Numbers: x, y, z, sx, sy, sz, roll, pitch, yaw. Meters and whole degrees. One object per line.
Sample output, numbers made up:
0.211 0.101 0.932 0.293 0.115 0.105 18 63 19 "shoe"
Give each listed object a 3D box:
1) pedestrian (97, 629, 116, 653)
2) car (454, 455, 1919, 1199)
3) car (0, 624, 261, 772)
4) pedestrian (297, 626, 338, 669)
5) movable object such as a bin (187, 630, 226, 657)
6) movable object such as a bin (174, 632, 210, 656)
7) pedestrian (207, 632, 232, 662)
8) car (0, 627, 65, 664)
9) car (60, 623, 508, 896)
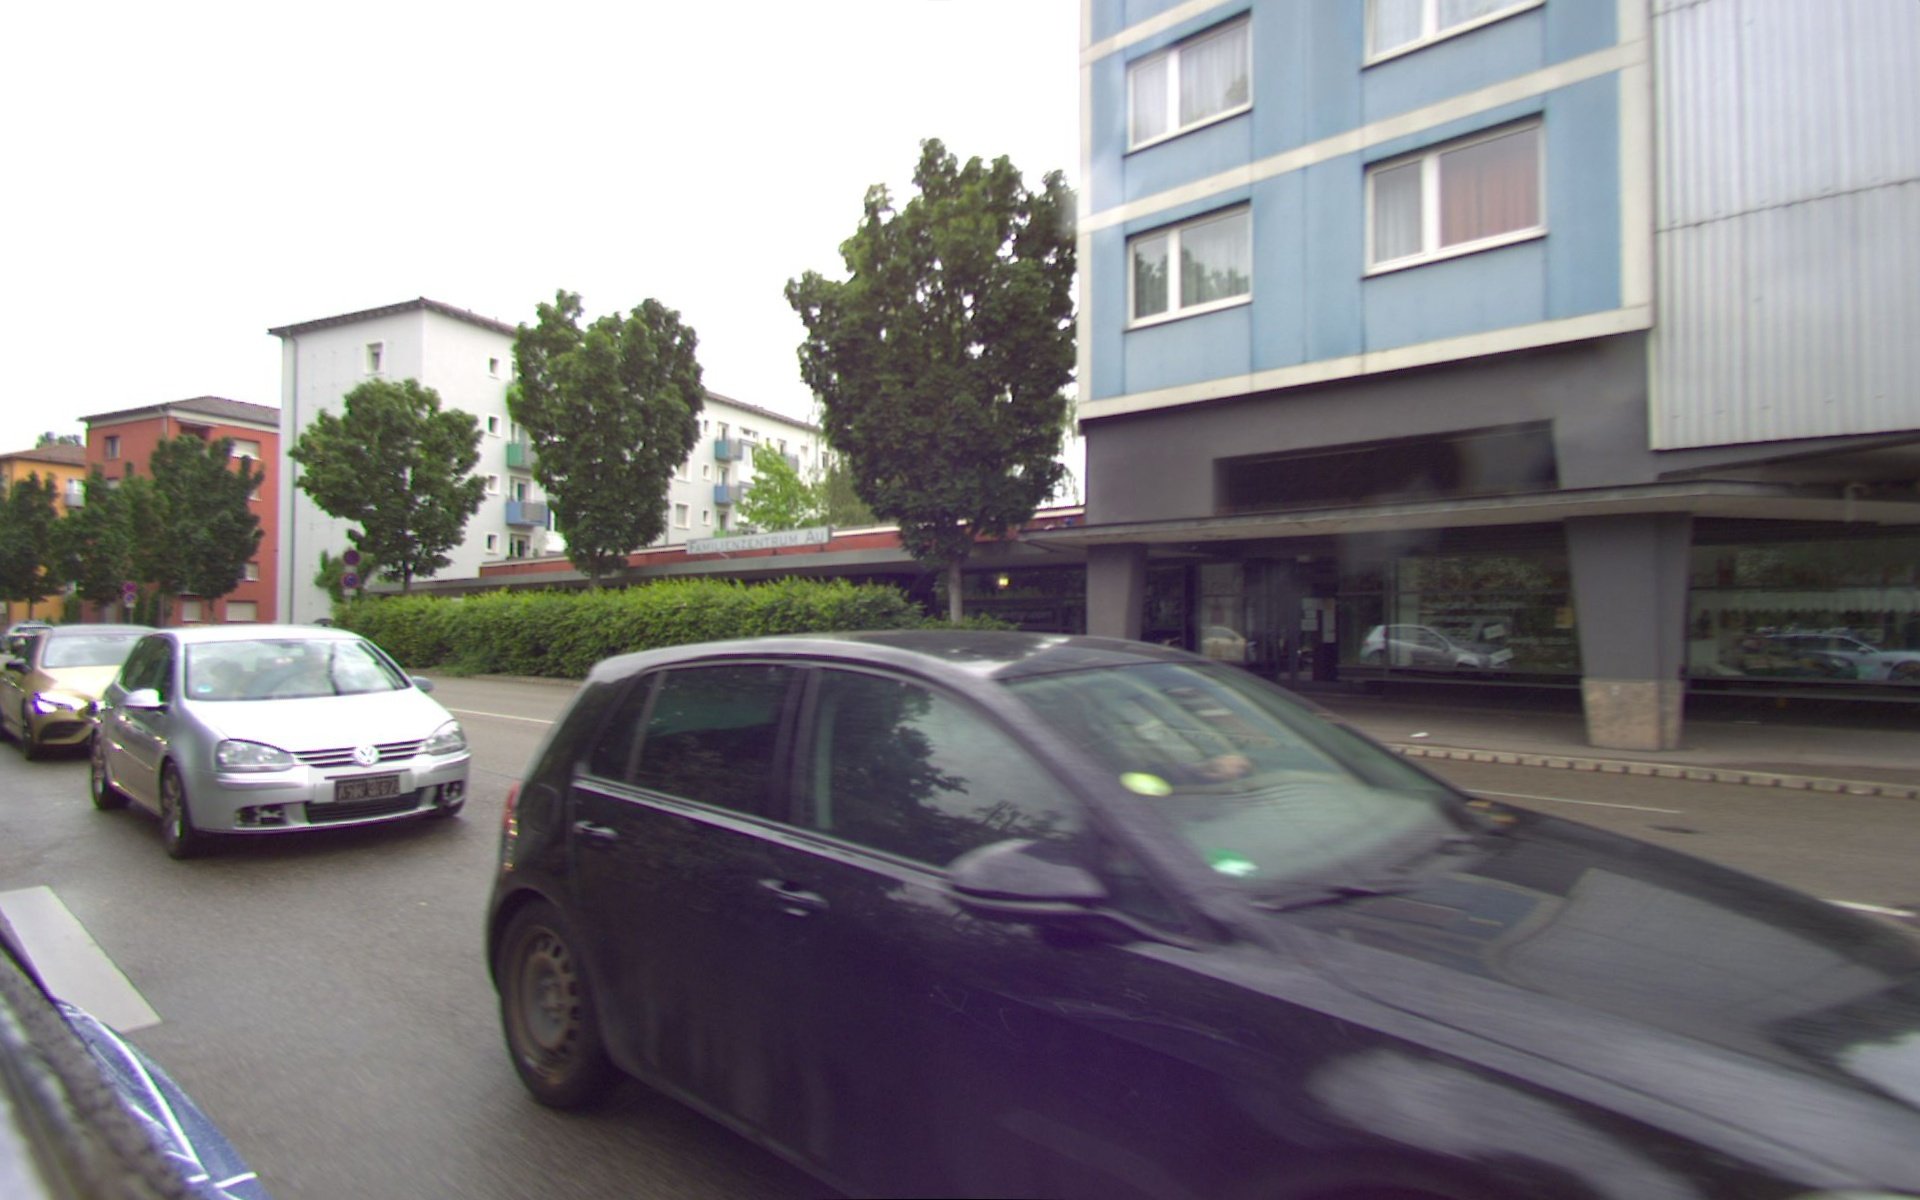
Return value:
-53.283 2.543 63.192 0.833 1.460 0.666 -2 -3 31 "pedestrian"
0.456 0.643 2.596 3.998 1.464 1.737 -2 -3 41 "car"
-10.446 1.059 12.402 4.584 1.475 2.044 -2 -3 41 "car"
-28.078 2.070 44.233 1.261 1.818 1.124 -2 -3 37 "pedestrian"
-43.664 2.522 58.643 2.082 1.496 1.205 -2 -3 35 "movable object such as a bin"
-45.439 2.599 59.895 1.961 1.341 1.147 -2 -3 35 "movable object such as a bin"
-38.216 2.414 52.220 1.066 1.529 0.687 -2 -3 32 "pedestrian"
-46.671 2.230 50.550 4.799 1.763 1.975 -2 -2 37 "car"
-5.218 0.942 7.590 4.159 1.498 1.726 -1 -3 41 "car"
